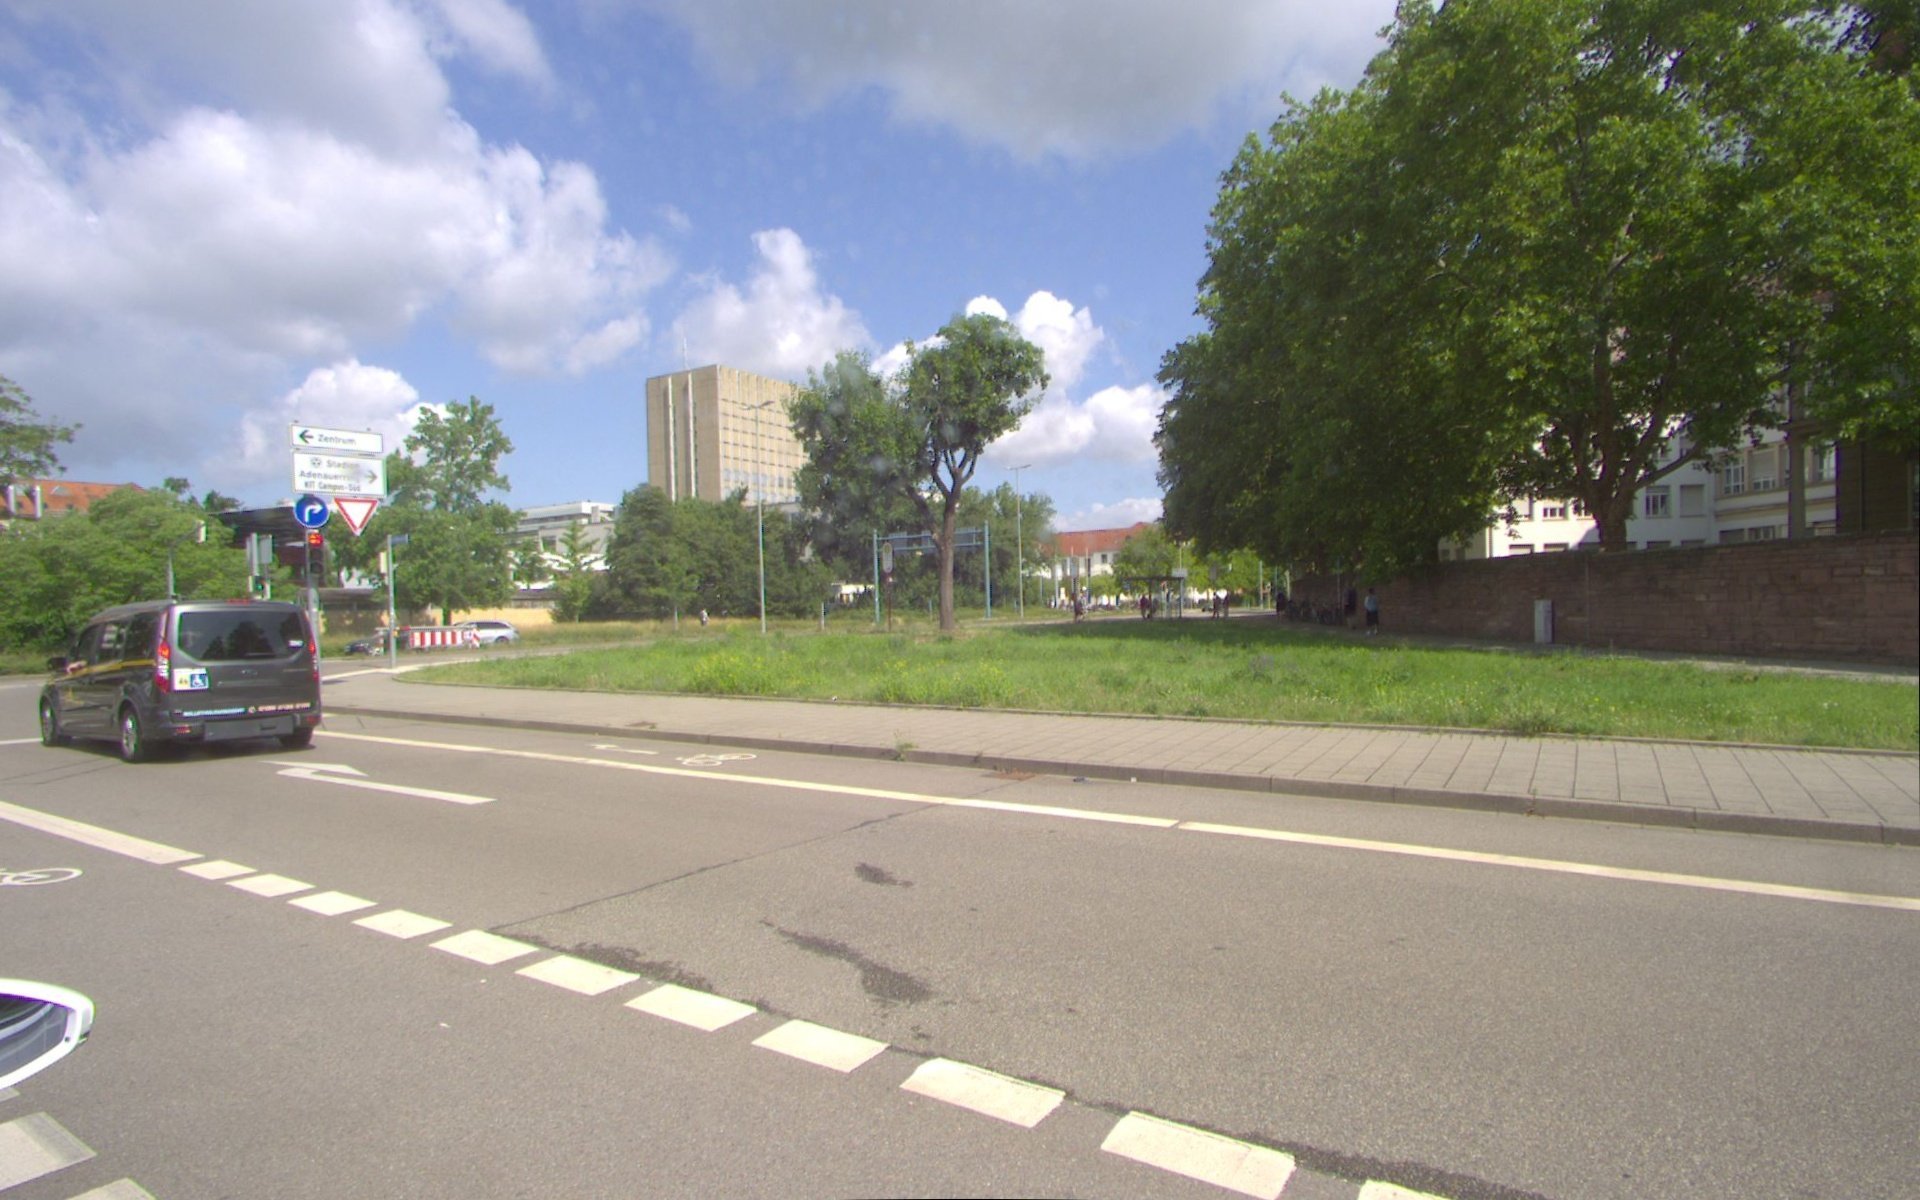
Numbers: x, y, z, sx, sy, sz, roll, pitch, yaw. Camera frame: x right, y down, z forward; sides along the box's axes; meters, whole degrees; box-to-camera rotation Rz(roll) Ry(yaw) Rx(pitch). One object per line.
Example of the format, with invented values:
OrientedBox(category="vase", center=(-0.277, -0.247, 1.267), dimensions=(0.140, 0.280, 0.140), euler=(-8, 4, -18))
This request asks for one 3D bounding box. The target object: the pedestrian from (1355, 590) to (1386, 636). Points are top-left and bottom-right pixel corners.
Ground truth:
OrientedBox(category="pedestrian", center=(14.304, 0.441, 34.906), dimensions=(0.712, 1.554, 0.724), euler=(-2, 0, -1))

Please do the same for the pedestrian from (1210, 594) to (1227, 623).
OrientedBox(category="pedestrian", center=(16.262, 0.533, 62.973), dimensions=(0.739, 1.803, 0.766), euler=(-2, 0, 33))

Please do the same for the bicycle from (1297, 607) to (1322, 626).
OrientedBox(category="bicycle", center=(16.618, 0.774, 47.581), dimensions=(1.053, 0.860, 0.499), euler=(-1, 1, 11))

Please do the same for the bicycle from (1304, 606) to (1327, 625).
OrientedBox(category="bicycle", center=(16.279, 0.699, 45.874), dimensions=(0.955, 0.860, 0.482), euler=(-1, 1, 11))

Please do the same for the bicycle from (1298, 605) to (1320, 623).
OrientedBox(category="bicycle", center=(16.853, 0.681, 48.376), dimensions=(0.955, 0.860, 0.482), euler=(-1, 1, 11))

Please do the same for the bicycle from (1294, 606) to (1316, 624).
OrientedBox(category="bicycle", center=(17.109, 0.727, 49.652), dimensions=(0.955, 0.860, 0.482), euler=(-1, 1, 11))

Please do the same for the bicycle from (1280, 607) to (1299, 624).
OrientedBox(category="bicycle", center=(18.084, 0.851, 54.948), dimensions=(0.955, 0.860, 0.482), euler=(-1, 1, 11))

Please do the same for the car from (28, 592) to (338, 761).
OrientedBox(category="car", center=(-9.995, 0.869, 12.769), dimensions=(4.608, 1.808, 1.844), euler=(-1, -1, 35))

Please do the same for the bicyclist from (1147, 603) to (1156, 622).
OrientedBox(category="bicyclist", center=(14.539, 0.943, 76.047), dimensions=(0.552, 1.433, 0.604), euler=(-1, 1, 28))

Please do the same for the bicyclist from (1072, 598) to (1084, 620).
OrientedBox(category="bicyclist", center=(7.747, 0.585, 65.612), dimensions=(0.552, 1.433, 0.604), euler=(-1, 1, 28))

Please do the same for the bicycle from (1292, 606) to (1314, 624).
OrientedBox(category="bicycle", center=(17.224, 0.751, 50.322), dimensions=(0.955, 0.860, 0.482), euler=(-1, 1, 11))

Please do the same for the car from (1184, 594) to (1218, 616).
OrientedBox(category="car", center=(22.850, 0.474, 94.927), dimensions=(1.972, 2.040, 3.978), euler=(-1, 1, 32))

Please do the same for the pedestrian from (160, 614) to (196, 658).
OrientedBox(category="pedestrian", center=(-34.402, 1.589, 44.058), dimensions=(1.161, 1.882, 0.697), euler=(-1, 1, 22))

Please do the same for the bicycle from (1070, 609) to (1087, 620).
OrientedBox(category="bicycle", center=(7.768, 0.940, 65.632), dimensions=(0.541, 0.707, 1.584), euler=(-1, 1, 27))

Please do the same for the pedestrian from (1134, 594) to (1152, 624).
OrientedBox(category="pedestrian", center=(11.169, 0.538, 61.003), dimensions=(0.739, 1.803, 0.961), euler=(-2, 0, 31))

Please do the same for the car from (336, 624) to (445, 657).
OrientedBox(category="car", center=(-27.564, 1.908, 48.578), dimensions=(1.973, 1.395, 4.135), euler=(0, 0, 34))

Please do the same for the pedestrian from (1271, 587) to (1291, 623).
OrientedBox(category="pedestrian", center=(16.428, 0.256, 51.247), dimensions=(0.870, 1.804, 0.770), euler=(-1, 1, 9))

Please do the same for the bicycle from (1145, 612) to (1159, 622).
OrientedBox(category="bicycle", center=(14.610, 1.297, 76.175), dimensions=(0.541, 0.707, 1.584), euler=(-1, 1, 28))

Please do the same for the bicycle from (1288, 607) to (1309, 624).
OrientedBox(category="bicycle", center=(17.418, 0.795, 51.513), dimensions=(0.955, 0.860, 0.482), euler=(-1, 1, 11))

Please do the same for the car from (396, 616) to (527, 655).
OrientedBox(category="car", center=(-21.942, 1.533, 44.230), dimensions=(2.037, 1.460, 4.746), euler=(-4, -2, 37))

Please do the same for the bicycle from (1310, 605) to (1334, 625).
OrientedBox(category="bicycle", center=(16.112, 0.652, 44.563), dimensions=(0.955, 0.860, 0.482), euler=(-1, 1, 11))

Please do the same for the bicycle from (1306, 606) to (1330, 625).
OrientedBox(category="bicycle", center=(16.169, 0.698, 45.247), dimensions=(0.955, 0.860, 0.482), euler=(-1, 1, 11))

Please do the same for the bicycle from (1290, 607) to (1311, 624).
OrientedBox(category="bicycle", center=(17.331, 0.776, 50.965), dimensions=(0.955, 0.860, 0.482), euler=(-1, 1, 11))

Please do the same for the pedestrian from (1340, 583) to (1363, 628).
OrientedBox(category="pedestrian", center=(15.264, 0.216, 39.078), dimensions=(0.651, 1.746, 0.742), euler=(-1, 1, 9))

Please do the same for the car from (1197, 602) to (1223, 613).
OrientedBox(category="car", center=(33.143, 0.979, 132.578), dimensions=(1.777, 1.290, 3.968), euler=(1, 1, 41))

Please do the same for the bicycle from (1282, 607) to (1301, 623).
OrientedBox(category="bicycle", center=(18.001, 0.831, 54.375), dimensions=(0.955, 0.860, 0.482), euler=(-1, 1, 11))

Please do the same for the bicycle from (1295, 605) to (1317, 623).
OrientedBox(category="bicycle", center=(16.948, 0.706, 49.109), dimensions=(0.955, 0.860, 0.482), euler=(-1, 1, 11))
